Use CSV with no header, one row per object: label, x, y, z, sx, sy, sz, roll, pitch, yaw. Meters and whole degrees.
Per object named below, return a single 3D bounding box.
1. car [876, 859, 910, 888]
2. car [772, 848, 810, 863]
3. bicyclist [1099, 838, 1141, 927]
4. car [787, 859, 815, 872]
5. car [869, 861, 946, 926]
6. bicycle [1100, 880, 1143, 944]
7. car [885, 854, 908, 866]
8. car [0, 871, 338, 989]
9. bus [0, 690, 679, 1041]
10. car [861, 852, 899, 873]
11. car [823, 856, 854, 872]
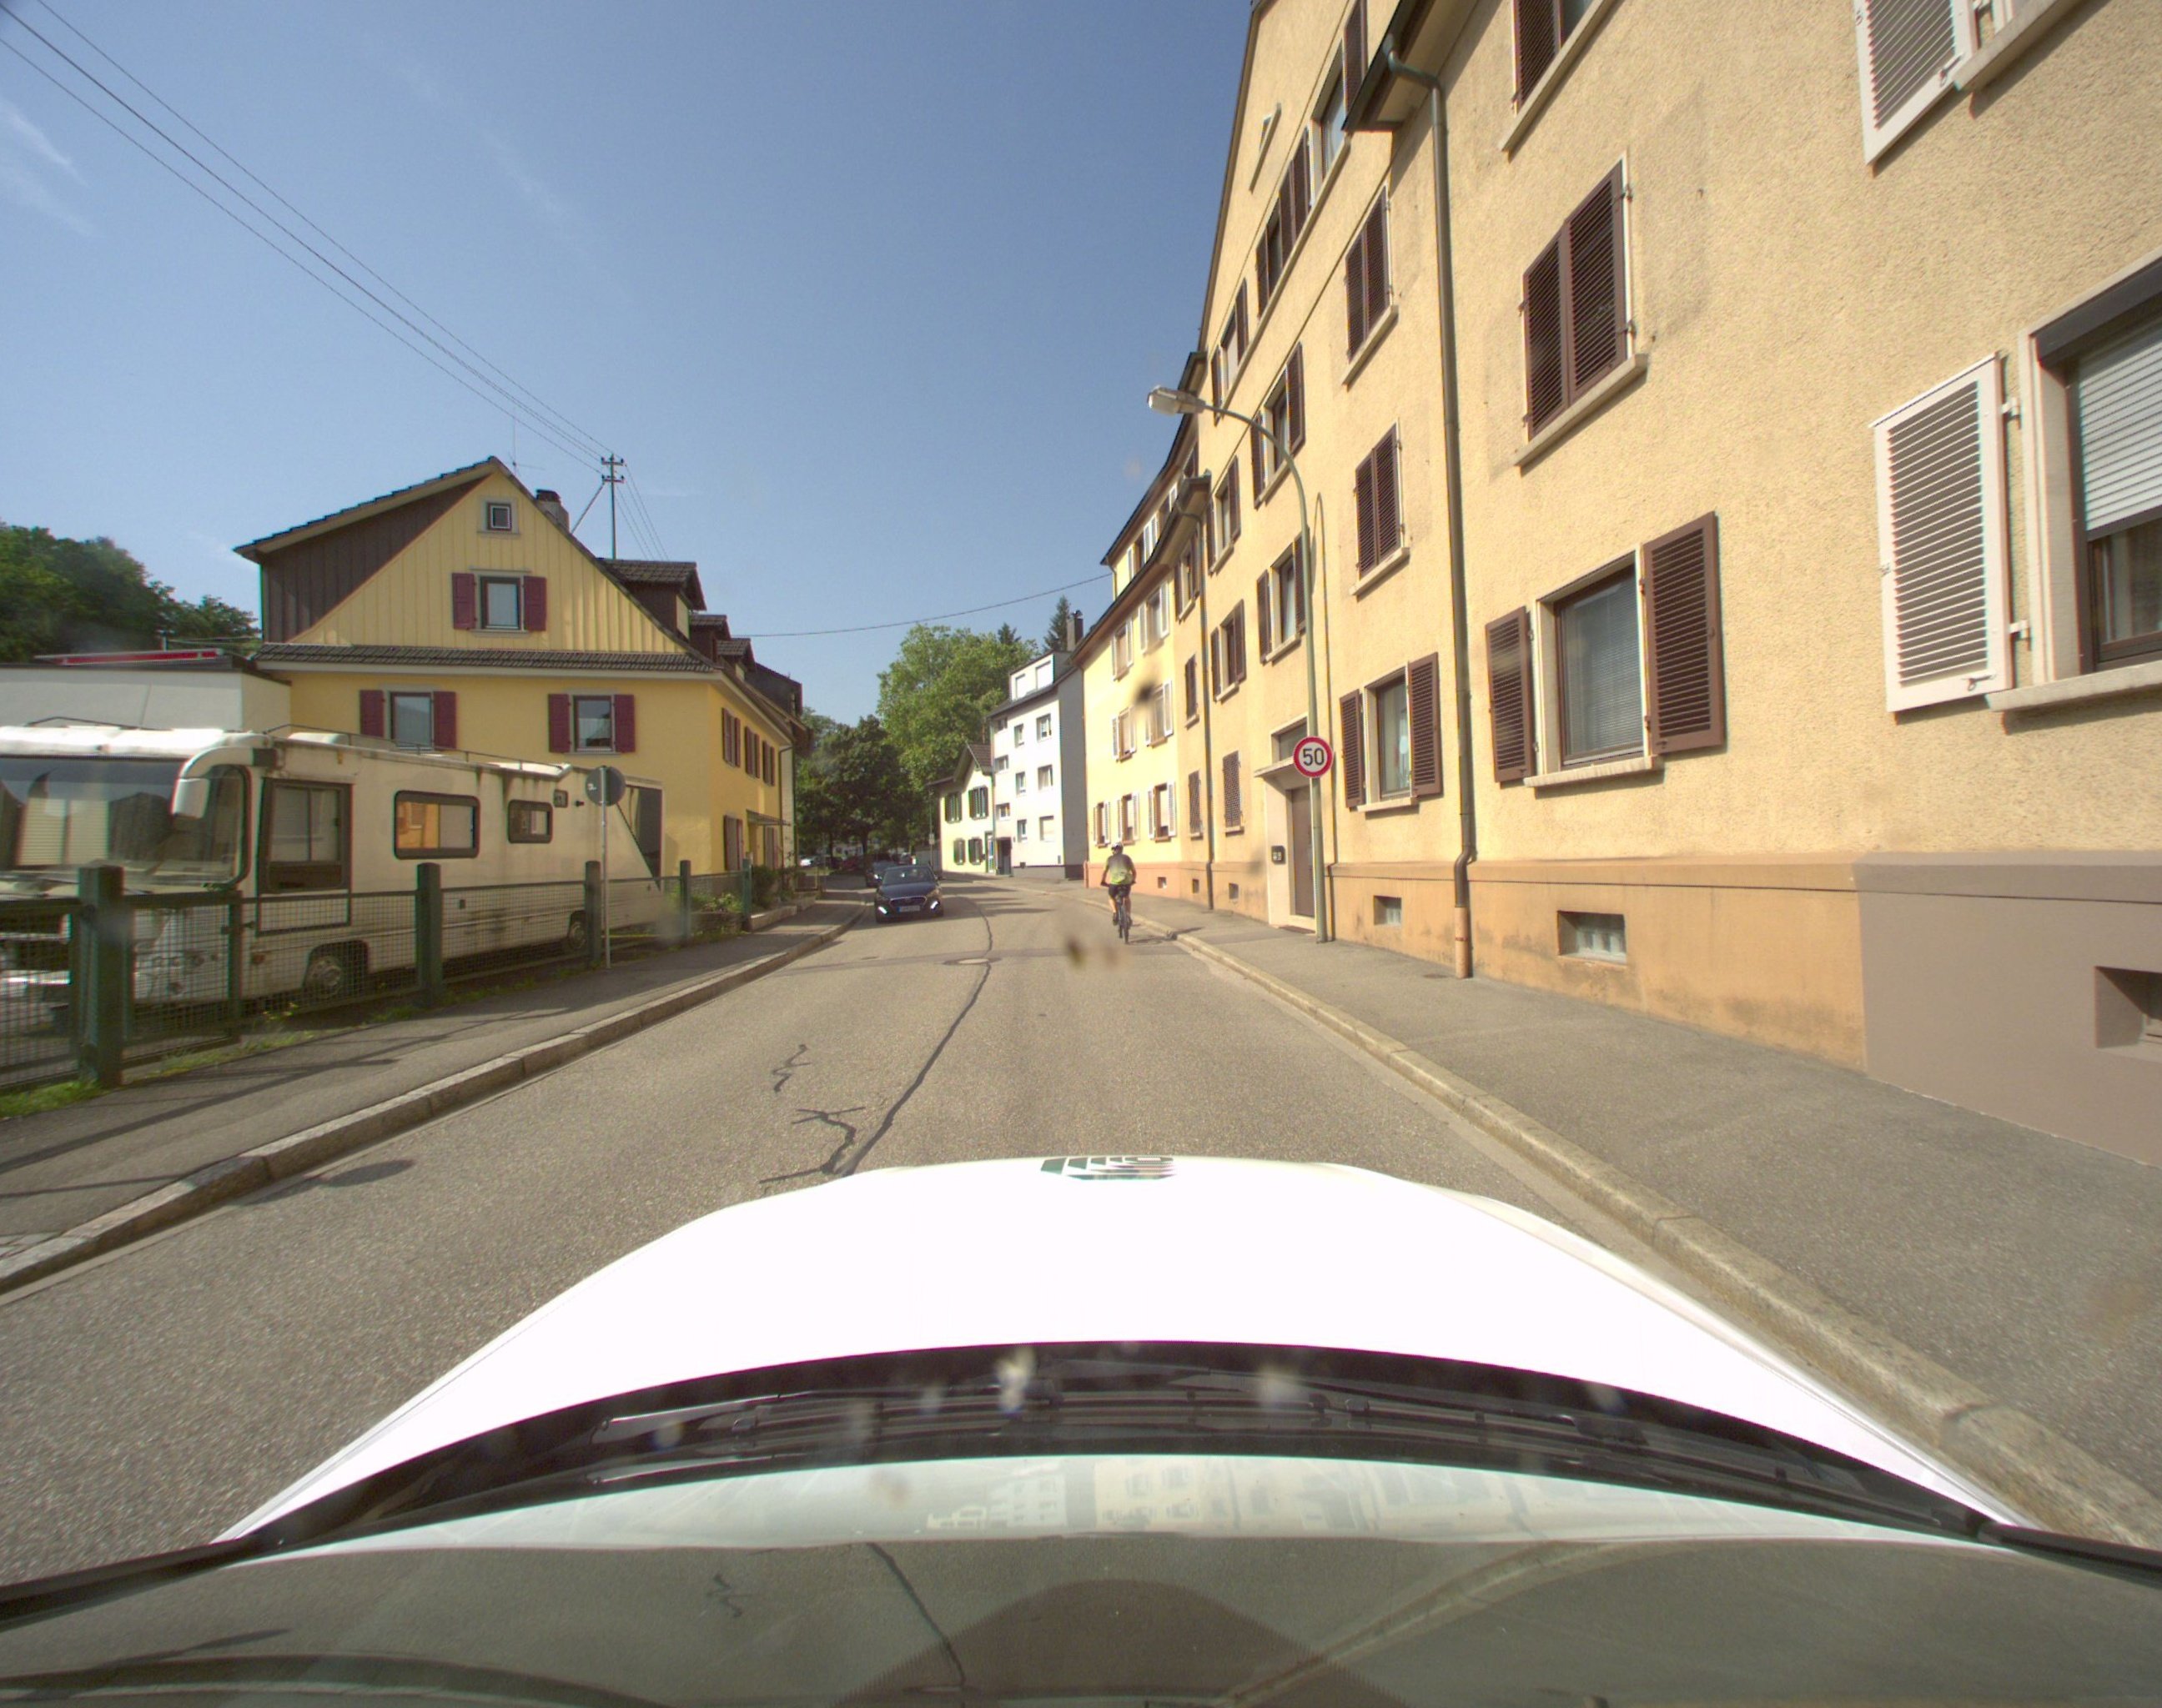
car,-10.693,1.060,46.122,1.661,1.449,4.238,-5,1,-14
car,-37.895,0.161,106.438,1.976,1.855,4.726,-2,0,22
bicyclist,0.679,0.493,14.459,0.683,1.531,0.715,-1,-1,0
car,-35.416,1.435,103.057,1.800,1.552,4.008,-2,0,7
car,-4.780,1.013,22.877,1.747,1.453,4.015,-6,1,-9
bicycle,0.695,0.997,14.395,0.696,1.035,1.471,0,0,0
car,-20.049,0.665,88.245,1.591,1.257,3.824,-3,1,-26
car,-13.505,1.001,12.331,1.769,1.432,3.977,0,-1,-17
bus,-9.488,0.104,12.014,2.812,3.228,9.030,0,0,-1
car,-18.536,0.734,75.074,1.837,1.791,3.954,-3,2,-39
car,-25.286,0.973,84.768,1.723,1.542,3.954,-3,2,-39
